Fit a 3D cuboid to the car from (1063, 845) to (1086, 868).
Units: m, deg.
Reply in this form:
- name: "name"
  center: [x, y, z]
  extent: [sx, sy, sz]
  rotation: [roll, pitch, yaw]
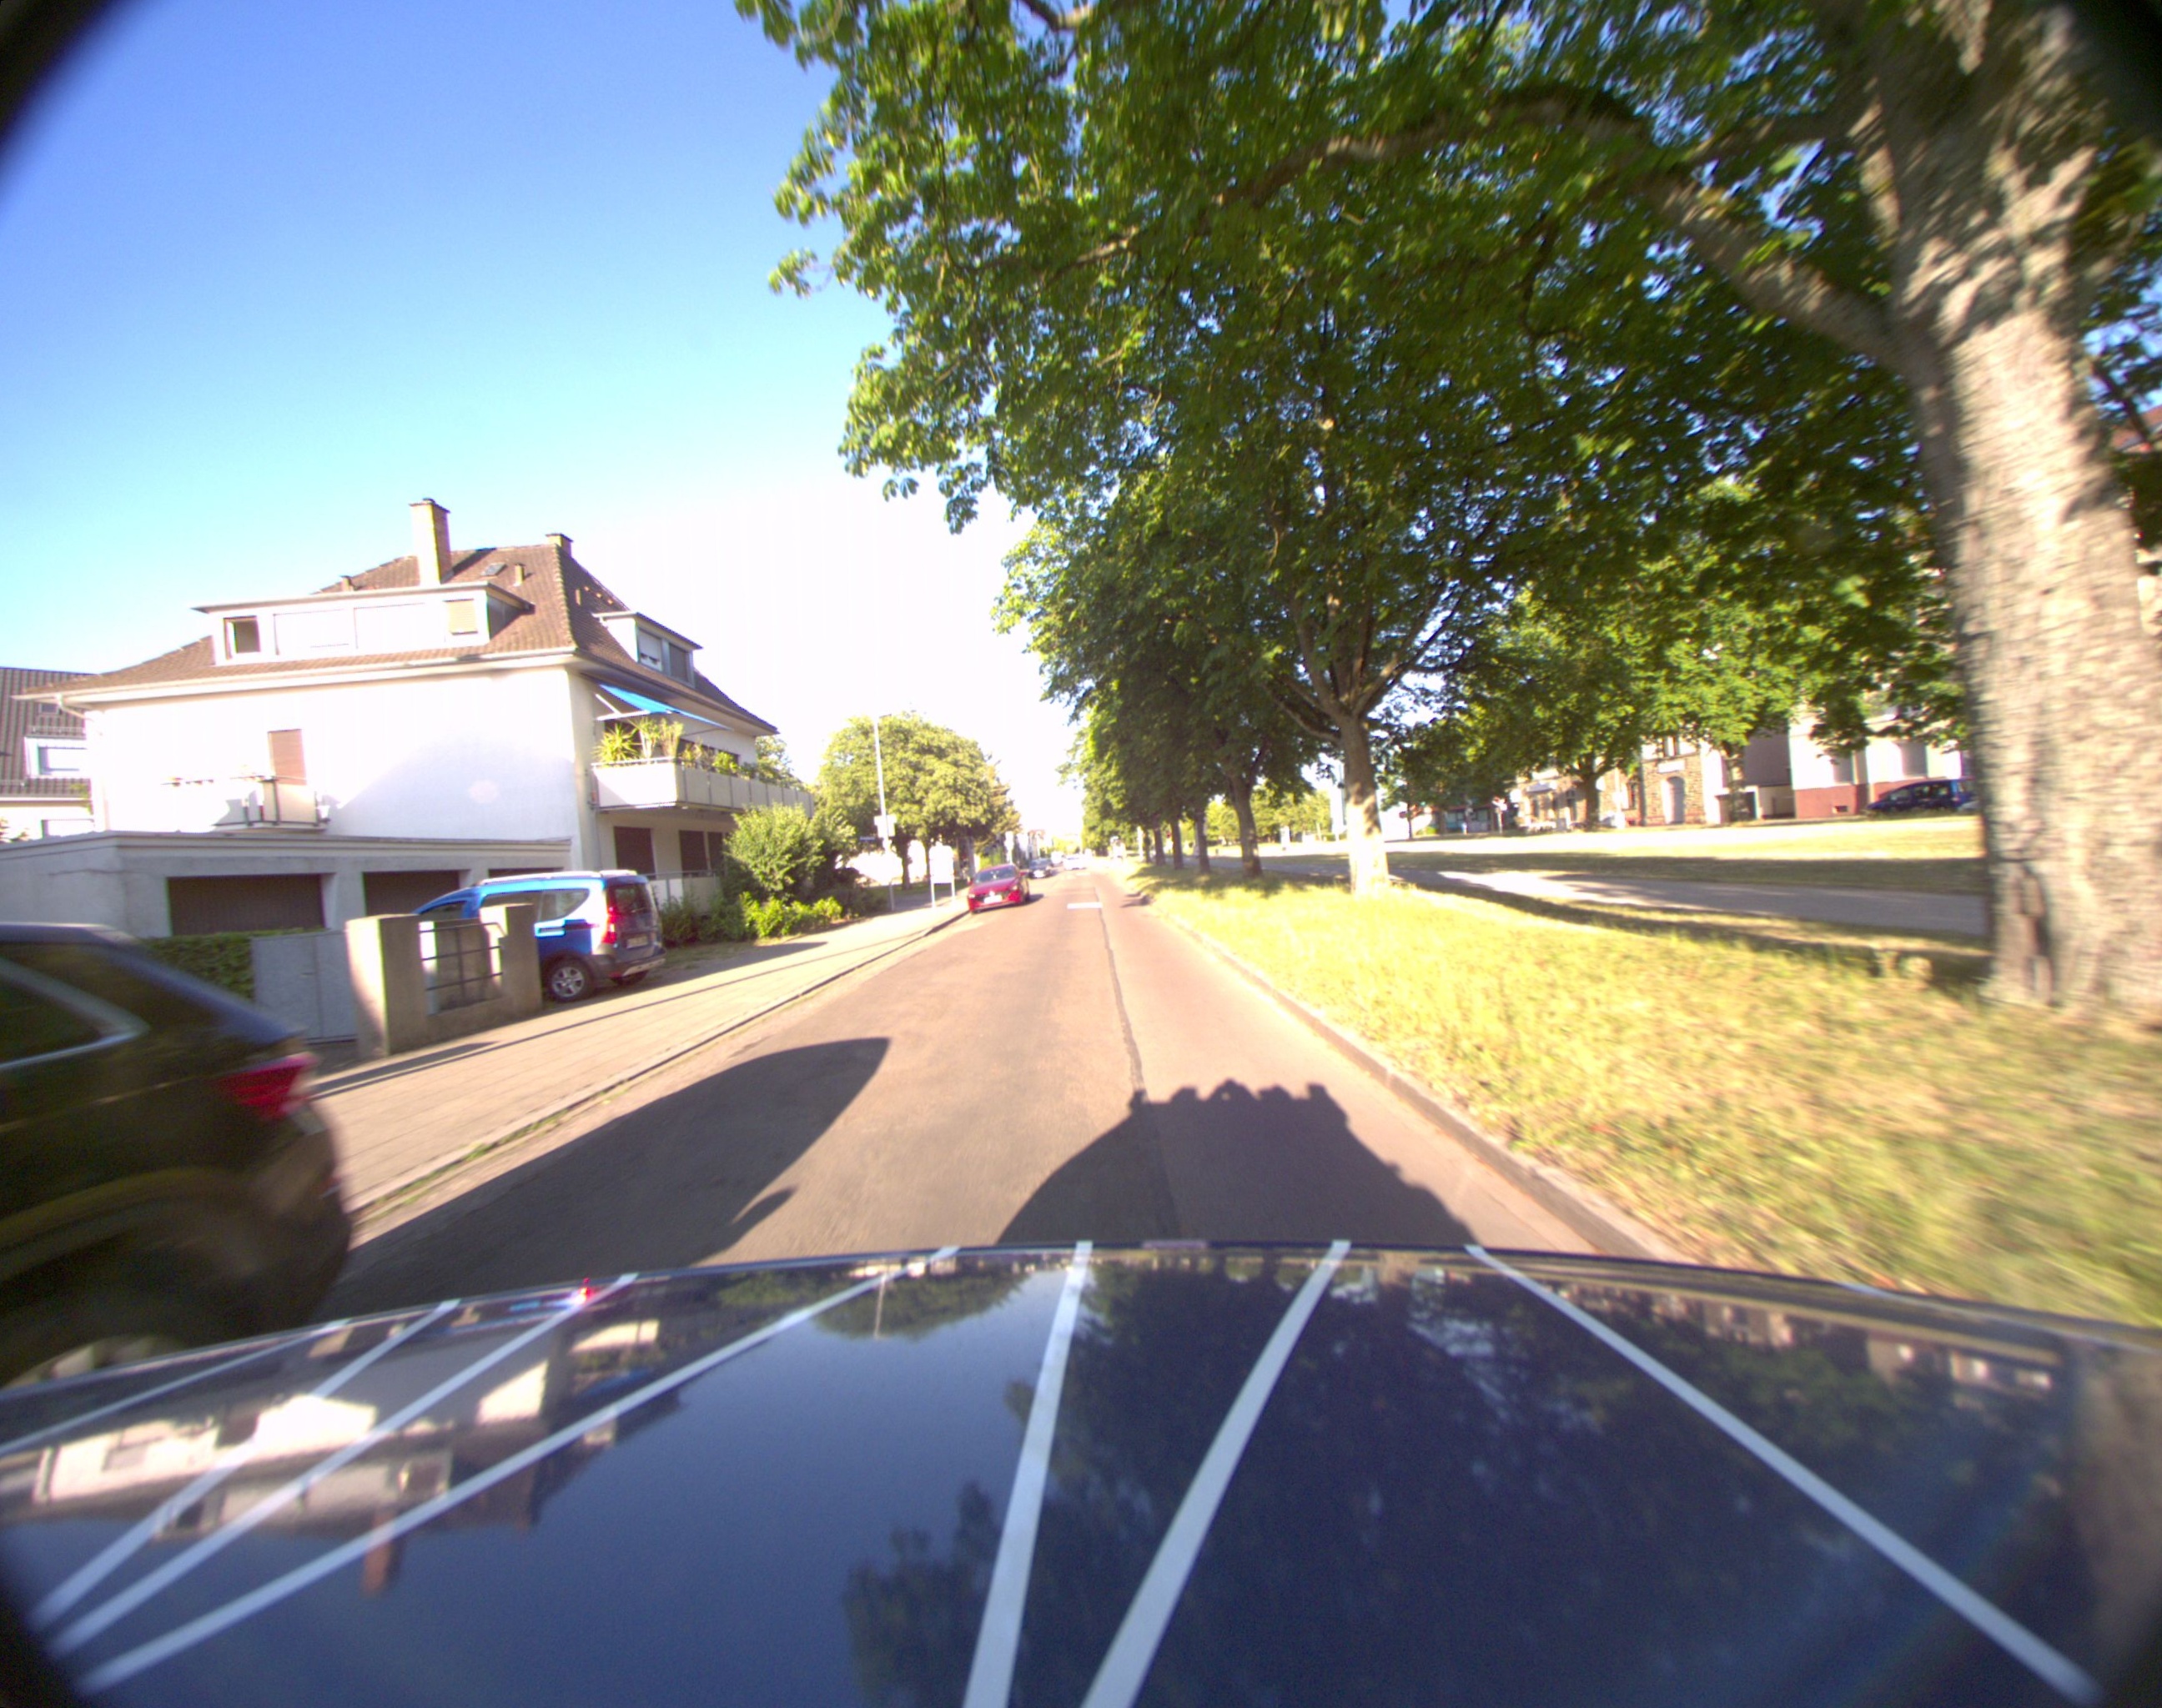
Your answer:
- name: "car"
  center: [-0.643, 0.208, 77.518]
  extent: [1.998, 2.002, 3.999]
  rotation: [-6, 1, 1]

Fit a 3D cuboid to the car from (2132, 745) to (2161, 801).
- name: "car"
  center: [34.128, -2.561, 21.509]
  extent: [1.998, 1.680, 4.875]
  rotation: [-5, 1, 1]

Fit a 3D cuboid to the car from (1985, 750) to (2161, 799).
- name: "car"
  center: [39.923, -3.135, 30.231]
  extent: [1.999, 1.445, 4.874]
  rotation: [-5, 1, -1]

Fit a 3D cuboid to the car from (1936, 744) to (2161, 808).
- name: "car"
  center: [34.161, -2.679, 27.005]
  extent: [1.998, 1.680, 4.875]
  rotation: [-5, 1, 1]

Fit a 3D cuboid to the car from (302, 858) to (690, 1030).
- name: "car"
  center: [-8.424, 1.223, 11.315]
  extent: [3.998, 1.917, 1.999]
  rotation: [-5, 1, -3]

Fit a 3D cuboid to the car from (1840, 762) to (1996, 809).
- name: "car"
  center: [40.107, -3.229, 36.627]
  extent: [1.999, 1.680, 4.874]
  rotation: [-5, 1, -1]

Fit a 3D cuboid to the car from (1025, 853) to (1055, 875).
- name: "car"
  center: [-3.171, 0.768, 59.945]
  extent: [1.998, 1.576, 4.346]
  rotation: [-2, 1, 1]

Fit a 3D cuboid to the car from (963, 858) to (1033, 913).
- name: "car"
  center: [-2.730, 1.000, 25.984]
  extent: [1.824, 1.486, 4.223]
  rotation: [-5, 1, 0]
